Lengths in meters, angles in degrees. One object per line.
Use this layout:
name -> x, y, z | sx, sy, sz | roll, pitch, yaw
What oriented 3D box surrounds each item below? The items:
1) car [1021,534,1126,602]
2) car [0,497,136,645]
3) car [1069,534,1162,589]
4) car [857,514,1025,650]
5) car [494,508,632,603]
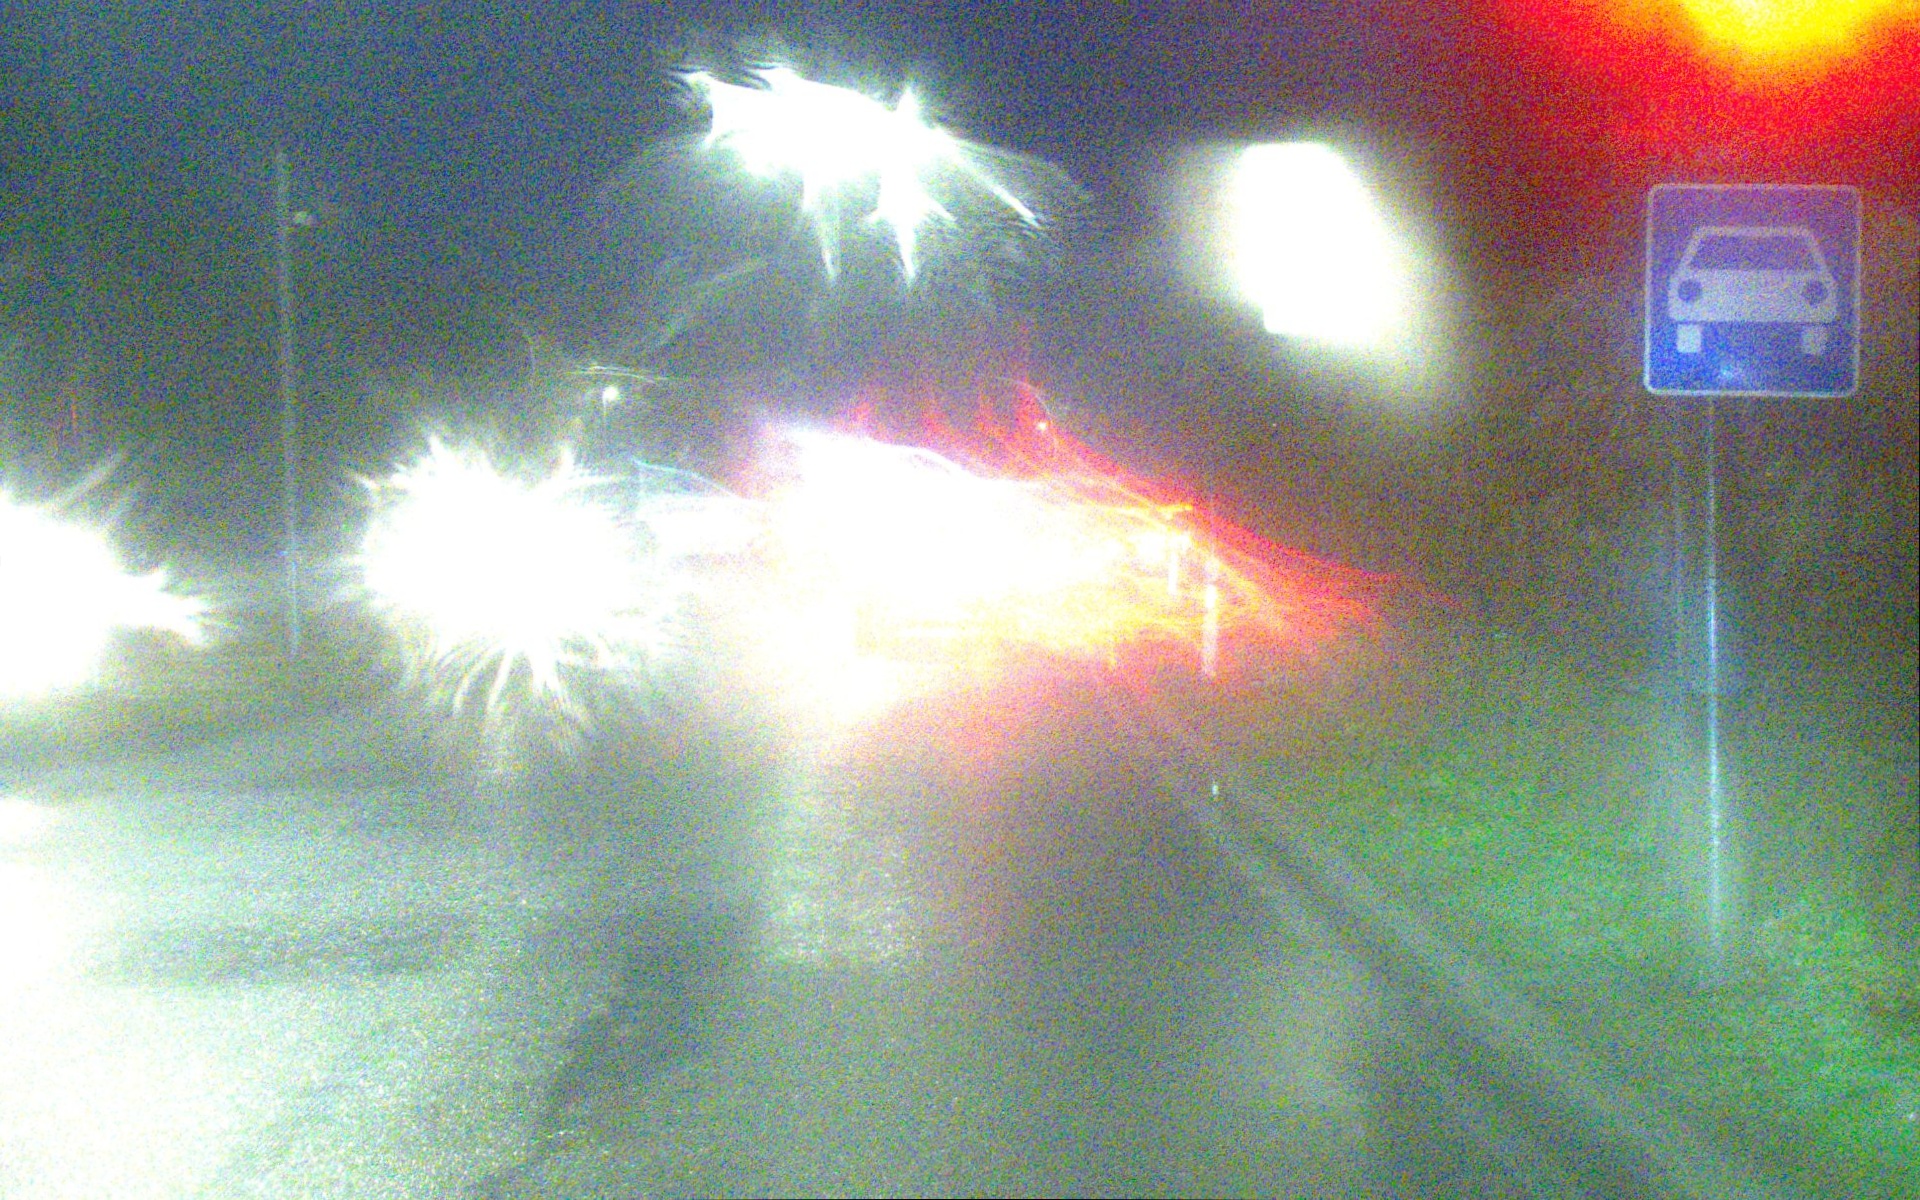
car -> 2.402, -0.673, 73.910 | 2.103, 1.434, 4.000 | 0, 0, 0
car -> -10.257, -0.301, 37.249 | 1.585, 1.520, 3.651 | 0, 0, 3
car -> 3.848, -0.938, 85.869 | 2.107, 1.335, 4.294 | 0, 0, 0
car -> -0.241, -0.223, 42.787 | 1.993, 1.605, 4.103 | 0, 0, 0
car -> -7.260, -0.810, 63.198 | 1.718, 1.697, 4.142 | 0, 0, 5
